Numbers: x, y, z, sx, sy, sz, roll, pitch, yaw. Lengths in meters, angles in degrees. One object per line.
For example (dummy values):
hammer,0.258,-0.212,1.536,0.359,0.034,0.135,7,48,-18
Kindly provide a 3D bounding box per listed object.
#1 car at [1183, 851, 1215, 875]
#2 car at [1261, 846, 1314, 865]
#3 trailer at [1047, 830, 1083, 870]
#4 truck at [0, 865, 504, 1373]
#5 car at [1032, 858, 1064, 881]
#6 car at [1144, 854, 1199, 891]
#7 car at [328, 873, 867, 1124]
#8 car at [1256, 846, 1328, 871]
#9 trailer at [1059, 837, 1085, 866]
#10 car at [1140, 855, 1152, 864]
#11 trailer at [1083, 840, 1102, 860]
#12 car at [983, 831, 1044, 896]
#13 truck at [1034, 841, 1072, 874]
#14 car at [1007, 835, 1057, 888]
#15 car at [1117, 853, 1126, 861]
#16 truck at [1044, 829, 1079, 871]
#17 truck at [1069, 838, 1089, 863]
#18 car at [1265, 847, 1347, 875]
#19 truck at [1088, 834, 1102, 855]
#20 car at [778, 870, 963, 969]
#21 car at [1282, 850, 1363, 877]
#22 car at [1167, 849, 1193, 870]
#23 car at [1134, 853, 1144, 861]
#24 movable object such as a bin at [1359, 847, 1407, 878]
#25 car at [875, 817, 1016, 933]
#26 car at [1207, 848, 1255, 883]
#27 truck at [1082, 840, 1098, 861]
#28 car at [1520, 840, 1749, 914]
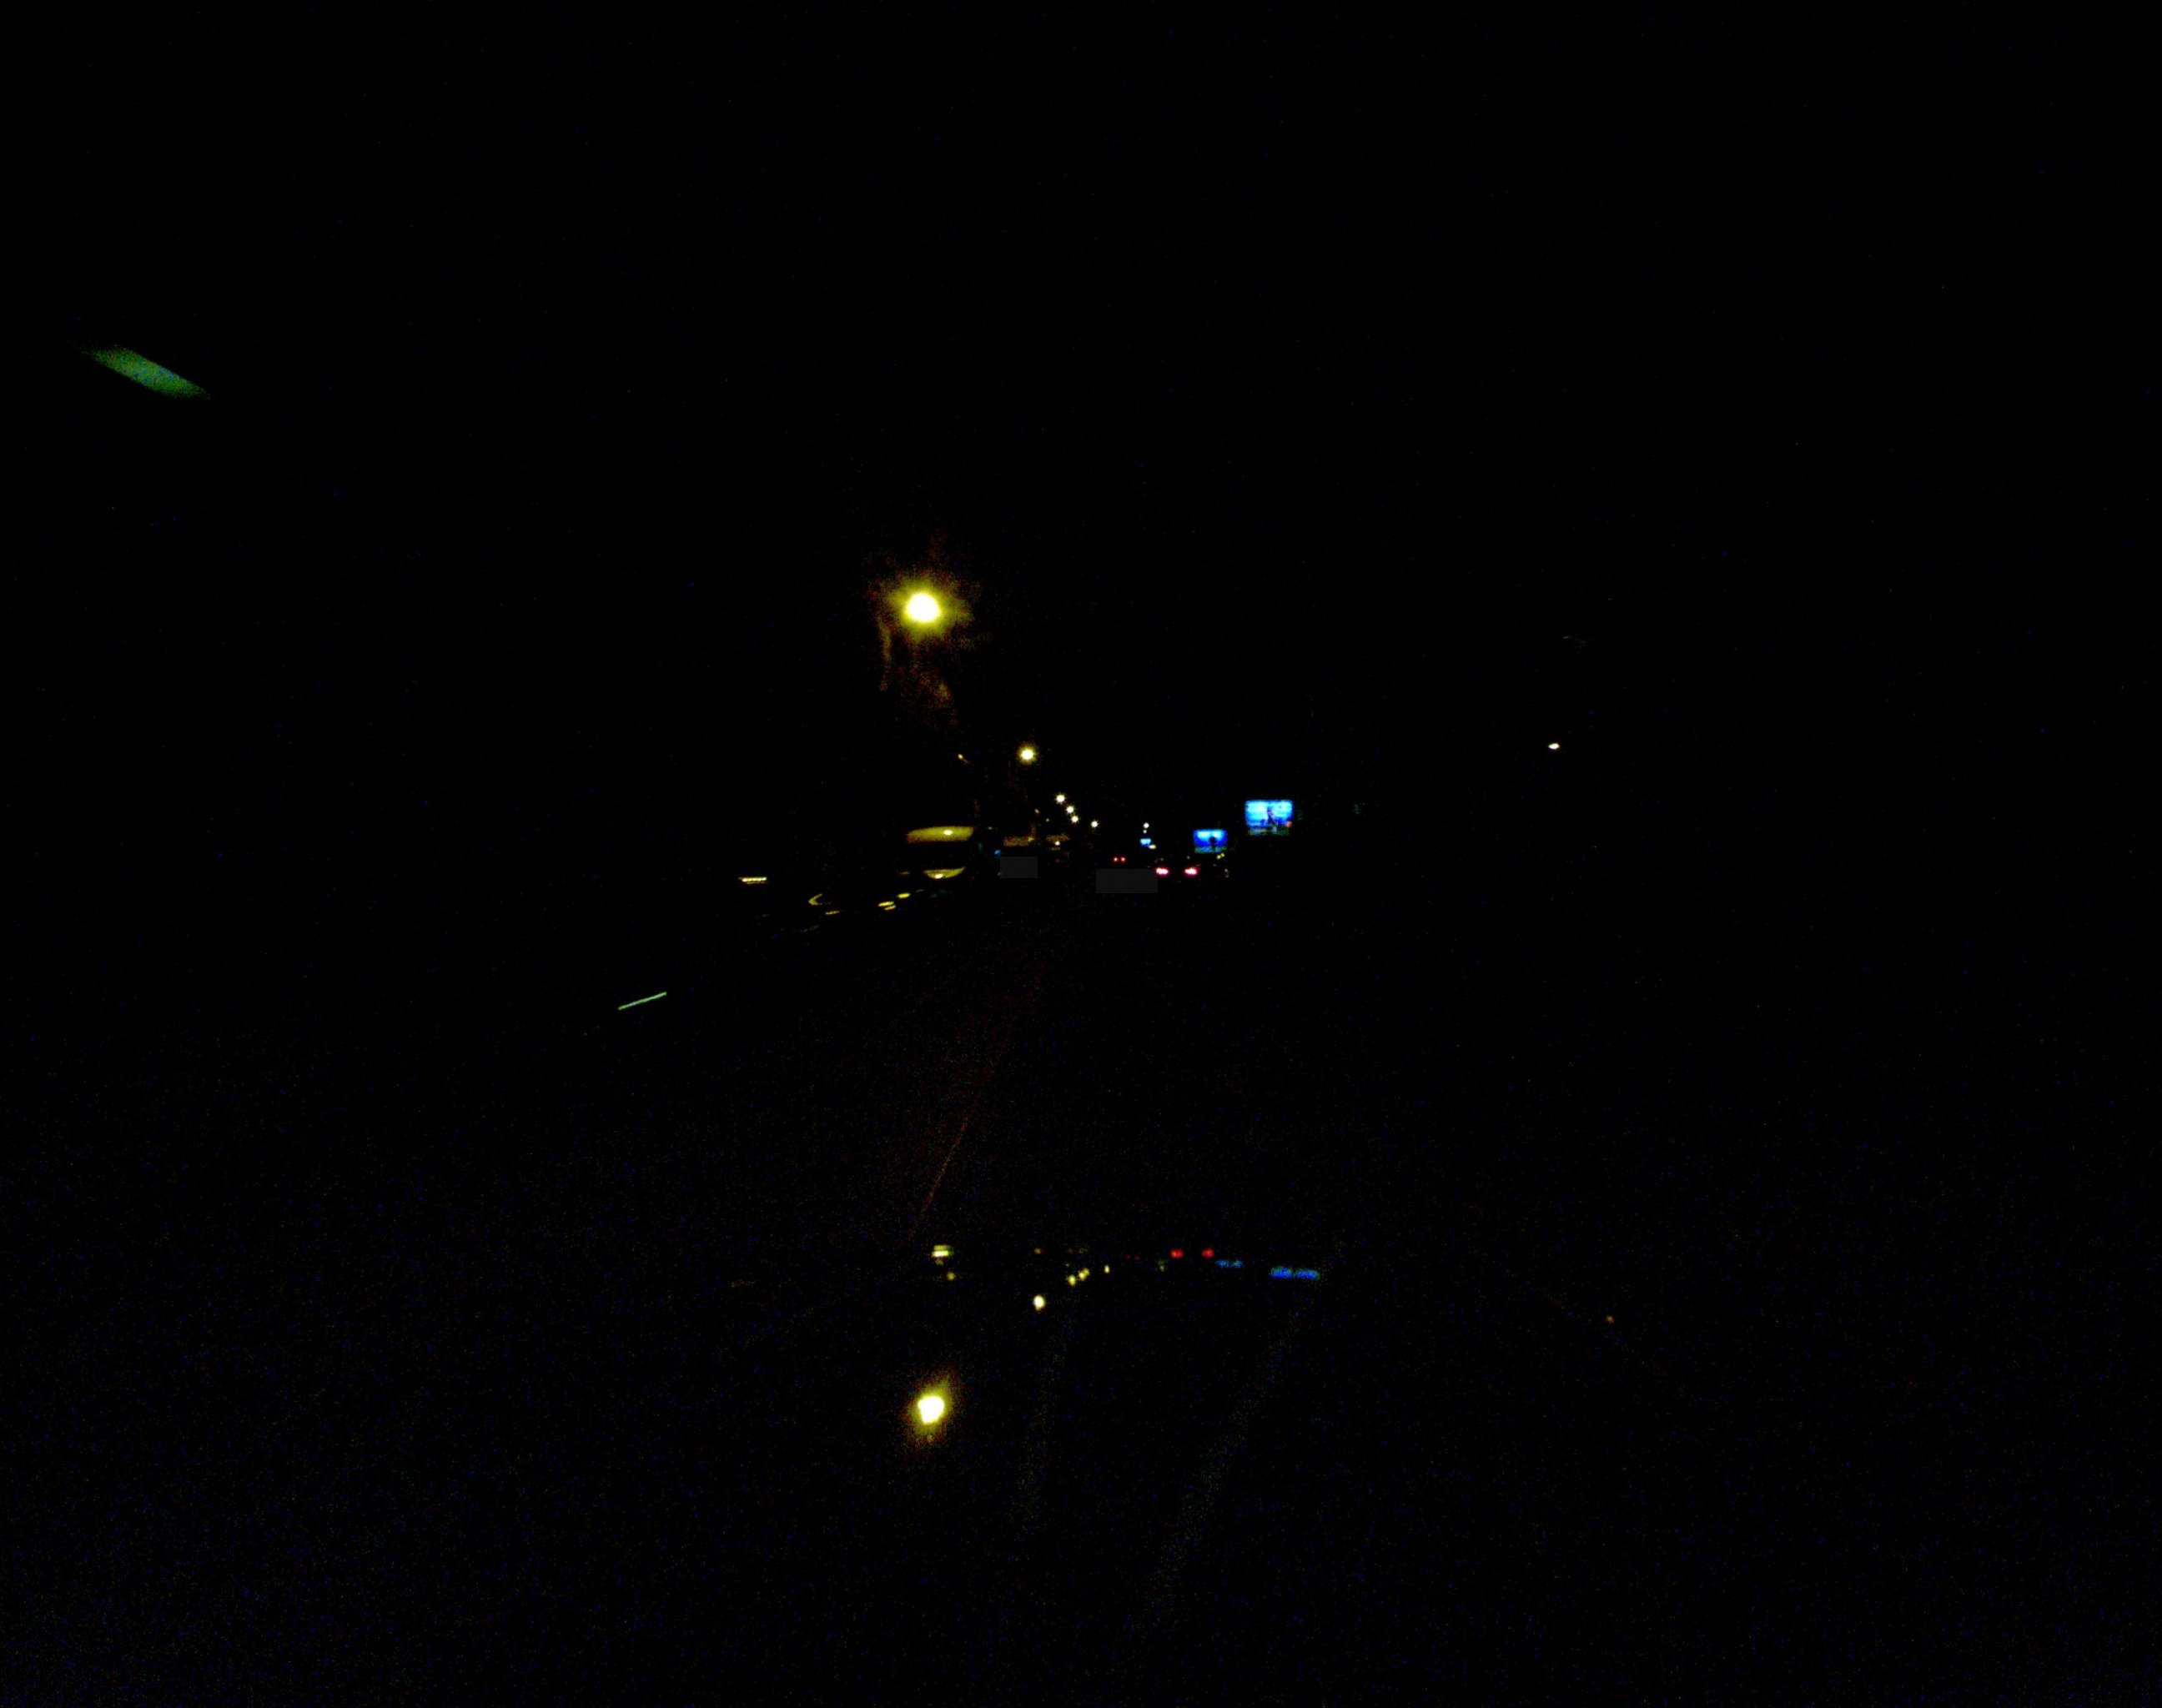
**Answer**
car,8.851,0.633,57.237,1.951,1.678,4.817,-1,0,4
car,19.191,0.131,70.708,4.410,1.644,1.923,-1,0,4
trailer,-1.519,-0.439,79.366,2.772,3.742,14.656,-2,0,2
truck,-4.257,0.904,2.744,1.373,1.635,3.812,-1,0,1
car,-2.331,1.077,54.790,1.834,1.399,4.909,-4,0,2
car,3.748,0.733,31.992,1.862,1.412,4.000,-1,0,1
car,-3.833,1.001,7.418,1.951,1.480,5.010,-1,0,1
car,14.374,0.280,51.711,4.419,1.551,1.996,-1,0,-22
trailer,-1.099,-0.300,99.457,2.885,3.503,8.284,-1,0,2
car,10.404,0.868,121.012,1.760,1.382,4.309,-1,0,3
trailer,2.750,-0.900,178.024,3.072,4.449,13.415,-2,0,6
car,-2.926,0.389,34.259,2.134,2.556,5.908,-4,0,-1
truck,-2.253,0.291,63.227,2.407,2.579,6.598,-1,0,3
car,-2.564,0.374,41.059,1.998,2.556,6.014,-4,0,2
car,7.976,0.603,150.140,1.824,1.429,4.399,-1,0,2
truck,-1.794,-0.381,72.051,2.772,3.742,5.228,-2,1,2
truck,-0.276,-0.549,126.235,2.797,3.946,9.822,-2,-1,2
car,13.677,0.401,46.186,4.678,1.542,1.996,-1,0,-27
truck,2.900,-1.895,154.652,2.659,3.850,10.234,-2,-2,2
car,-3.559,1.044,13.804,1.773,1.404,4.551,-1,0,4
car,13.811,0.503,43.434,4.421,1.432,1.789,-1,1,-27
car,8.855,0.484,68.388,1.808,1.788,4.879,-1,0,2
car,10.637,0.610,139.895,1.690,1.357,3.879,-2,0,2
movable object such as a bin,15.538,0.436,39.181,1.862,1.491,1.609,-1,0,2
car,-3.325,0.466,20.135,1.998,2.511,5.911,-4,0,6
car,8.295,0.589,42.324,1.818,1.838,4.414,-1,0,1
truck,2.041,-0.792,171.324,3.072,4.449,5.636,-2,1,6
car,13.462,0.575,18.823,4.133,1.423,1.899,-5,-1,20
